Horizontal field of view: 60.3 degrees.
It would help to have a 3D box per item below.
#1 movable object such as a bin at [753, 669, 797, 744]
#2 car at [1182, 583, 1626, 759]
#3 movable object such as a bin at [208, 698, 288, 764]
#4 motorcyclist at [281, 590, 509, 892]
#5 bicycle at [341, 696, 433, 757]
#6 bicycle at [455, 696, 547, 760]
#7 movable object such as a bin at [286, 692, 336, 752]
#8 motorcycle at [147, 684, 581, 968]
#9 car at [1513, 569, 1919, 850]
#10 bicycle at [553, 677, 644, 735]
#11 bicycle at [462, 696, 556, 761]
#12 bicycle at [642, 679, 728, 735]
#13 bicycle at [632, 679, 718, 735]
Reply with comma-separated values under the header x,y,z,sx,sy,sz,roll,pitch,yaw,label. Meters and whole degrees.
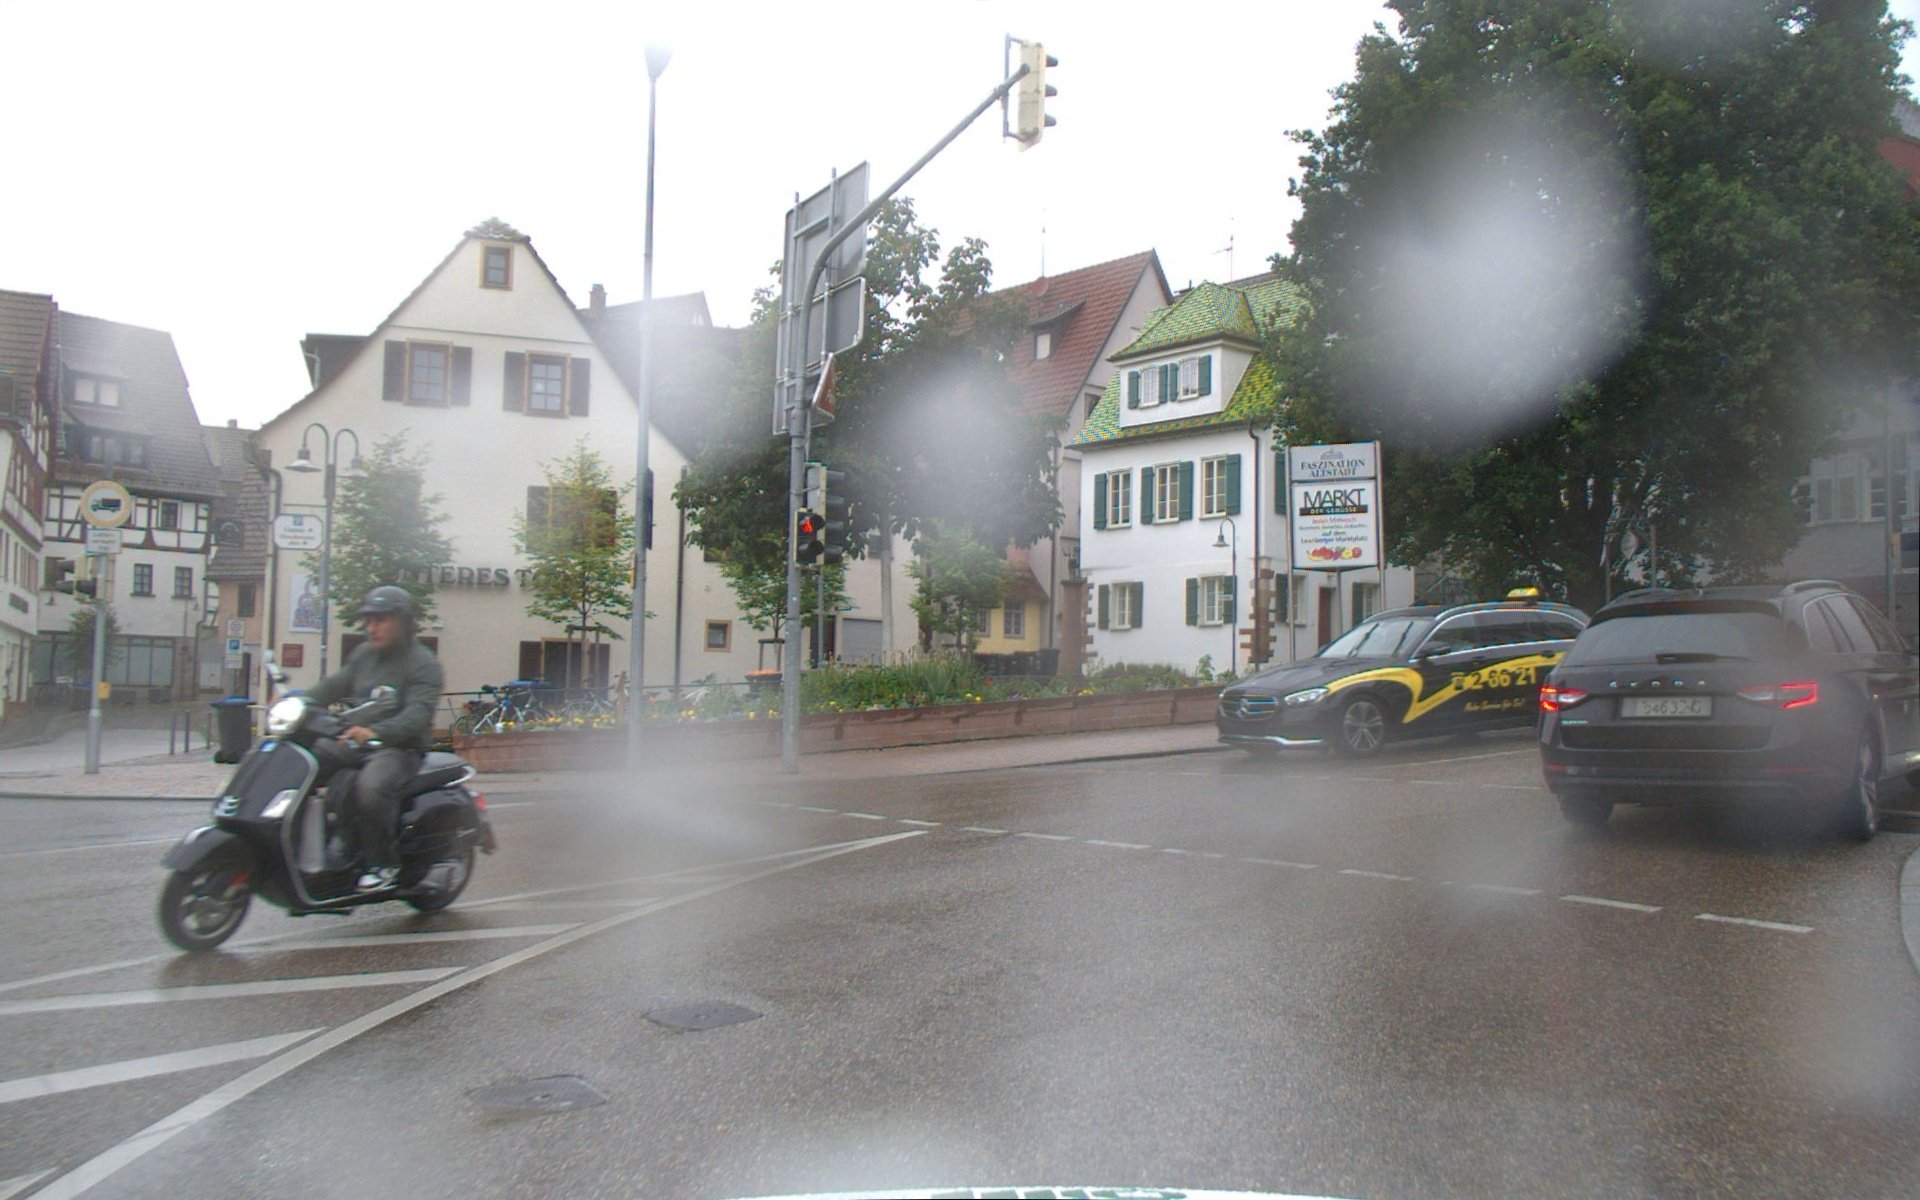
x,y,z,sx,sy,sz,roll,pitch,yaw,label
-3.358,1.919,29.929,0.671,1.299,0.746,3,-2,-12,movable object such as a bin
4.746,0.679,17.633,4.346,1.565,1.983,-2,0,-27,car
-10.491,1.927,24.382,0.708,0.943,0.788,-1,-5,16,movable object such as a bin
-2.753,0.657,8.074,0.794,1.378,0.666,0,-2,34,motorcyclist
-8.711,1.909,25.189,0.331,0.833,1.434,2,0,30,bicycle
-7.357,2.042,26.555,0.385,0.928,1.462,2,0,39,bicycle
-10.159,1.902,25.900,0.582,0.917,0.576,2,-3,-37,movable object such as a bin
-2.811,1.008,8.019,0.755,1.151,1.911,-2,-2,33,motorcycle
5.355,0.597,10.973,1.856,1.473,4.337,-2,-1,38,car
-6.069,1.764,27.804,1.455,0.928,0.387,2,0,-39,bicycle
-7.114,2.016,26.150,0.385,0.928,1.462,2,0,39,bicycle
-4.728,1.831,28.492,1.455,0.928,0.387,2,0,-39,bicycle
-4.956,1.853,28.844,1.455,0.928,0.387,2,0,-39,bicycle
